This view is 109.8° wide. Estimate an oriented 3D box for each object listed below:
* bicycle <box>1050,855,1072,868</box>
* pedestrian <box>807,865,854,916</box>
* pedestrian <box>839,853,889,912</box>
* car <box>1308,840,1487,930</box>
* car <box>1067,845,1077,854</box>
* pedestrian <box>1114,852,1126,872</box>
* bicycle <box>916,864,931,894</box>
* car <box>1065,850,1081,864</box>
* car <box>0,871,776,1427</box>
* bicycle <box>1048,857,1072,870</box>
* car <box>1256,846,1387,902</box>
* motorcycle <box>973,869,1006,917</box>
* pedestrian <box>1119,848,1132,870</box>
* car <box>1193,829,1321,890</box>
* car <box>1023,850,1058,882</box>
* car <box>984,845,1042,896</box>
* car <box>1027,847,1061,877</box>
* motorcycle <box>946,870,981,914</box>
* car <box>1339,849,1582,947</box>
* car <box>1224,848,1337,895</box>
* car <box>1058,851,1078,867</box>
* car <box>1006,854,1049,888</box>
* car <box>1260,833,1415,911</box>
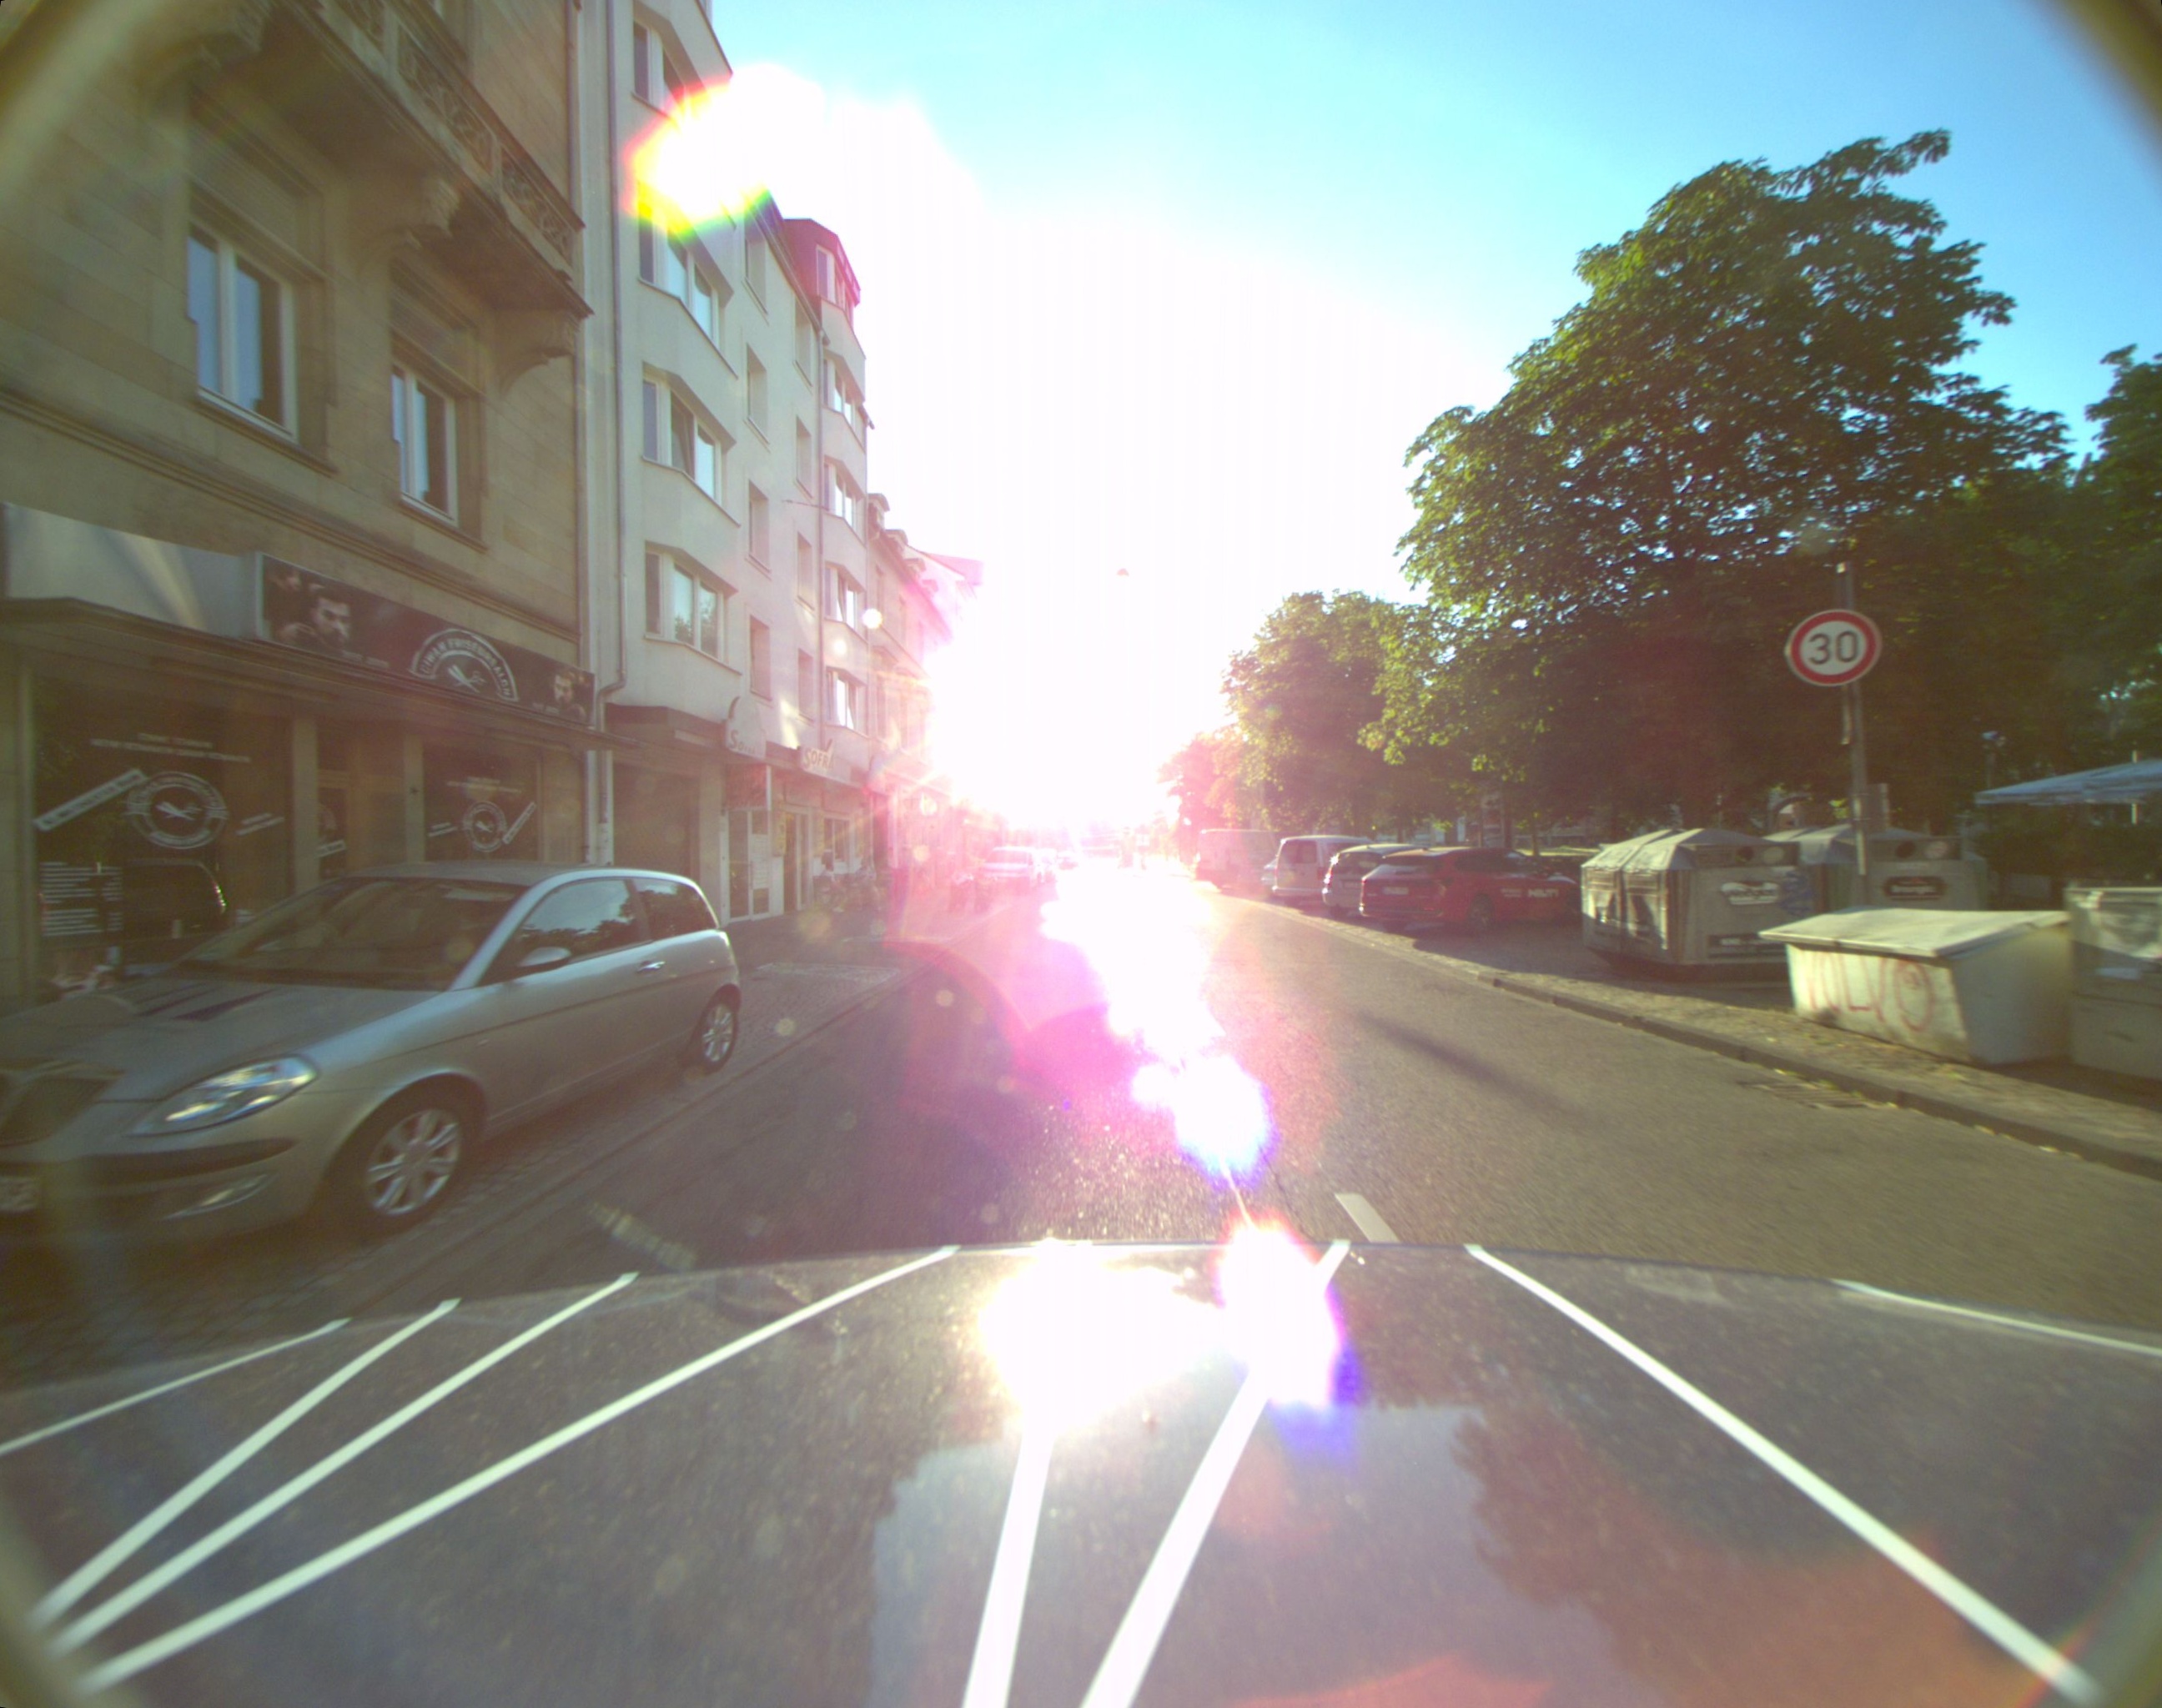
[{"bbox_3d":[-1.657,0.643,63.876,1.793,0.984,0.542,2,-1,-4],"label":"bicycle"},{"bbox_3d":[-6.207,0.882,18.828,0.741,1.212,0.792,1,0,31],"label":"pedestrian"},{"bbox_3d":[-5.627,0.727,19.775,0.957,1.478,0.992,-2,0,1],"label":"pedestrian"},{"bbox_3d":[7.126,0.608,16.998,4.006,1.686,1.745,-3,1,-34],"label":"car"},{"bbox_3d":[-1.476,-0.745,126.575,1.654,1.525,4.066,-2,0,0],"label":"car"},{"bbox_3d":[2.729,0.568,53.695,0.612,1.356,0.565,-1,1,35],"label":"pedestrian"},{"bbox_3d":[-5.794,0.906,27.907,0.456,1.006,1.710,-2,2,-13],"label":"bicycle"},{"bbox_3d":[-0.904,0.354,89.646,1.645,1.519,4.000,-2,0,2],"label":"car"},{"bbox_3d":[-3.498,0.928,4.312,1.684,1.552,4.001,1,0,4],"label":"car"},{"bbox_3d":[-1.656,0.729,59.598,1.789,0.984,0.543,2,-1,24],"label":"bicycle"},{"bbox_3d":[7.511,0.573,23.629,4.007,1.483,1.845,-2,1,-37],"label":"car"},{"bbox_3d":[-2.507,1.046,20.984,0.589,1.193,2.210,-1,0,1],"label":"motorcycle"},{"bbox_3d":[3.189,0.351,54.481,0.693,1.549,0.701,-2,0,32],"label":"pedestrian"},{"bbox_3d":[7.085,0.184,30.620,4.619,2.238,2.198,-2,1,-25],"label":"car"},{"bbox_3d":[-2.220,0.647,42.818,1.661,1.655,4.108,-2,0,1],"label":"car"},{"bbox_3d":[-2.636,0.619,30.335,1.714,1.824,4.306,-2,0,2],"label":"car"},{"bbox_3d":[-2.303,0.470,48.433,1.797,1.781,4.092,-1,1,2],"label":"car"},{"bbox_3d":[-3.310,1.045,21.591,0.589,1.117,2.210,-1,0,1],"label":"motorcycle"},{"bbox_3d":[6.828,0.682,13.625,4.006,1.477,1.995,-1,1,-30],"label":"car"},{"bbox_3d":[7.122,0.591,26.982,4.008,1.459,1.878,-2,0,-40],"label":"car"},{"bbox_3d":[-1.274,0.529,76.219,1.794,1.499,3.921,-2,0,2],"label":"car"},{"bbox_3d":[-2.496,0.773,36.518,1.671,1.535,3.883,-2,0,1],"label":"car"},{"bbox_3d":[6.900,0.429,20.346,4.007,1.867,1.866,-2,0,-34],"label":"car"}]
